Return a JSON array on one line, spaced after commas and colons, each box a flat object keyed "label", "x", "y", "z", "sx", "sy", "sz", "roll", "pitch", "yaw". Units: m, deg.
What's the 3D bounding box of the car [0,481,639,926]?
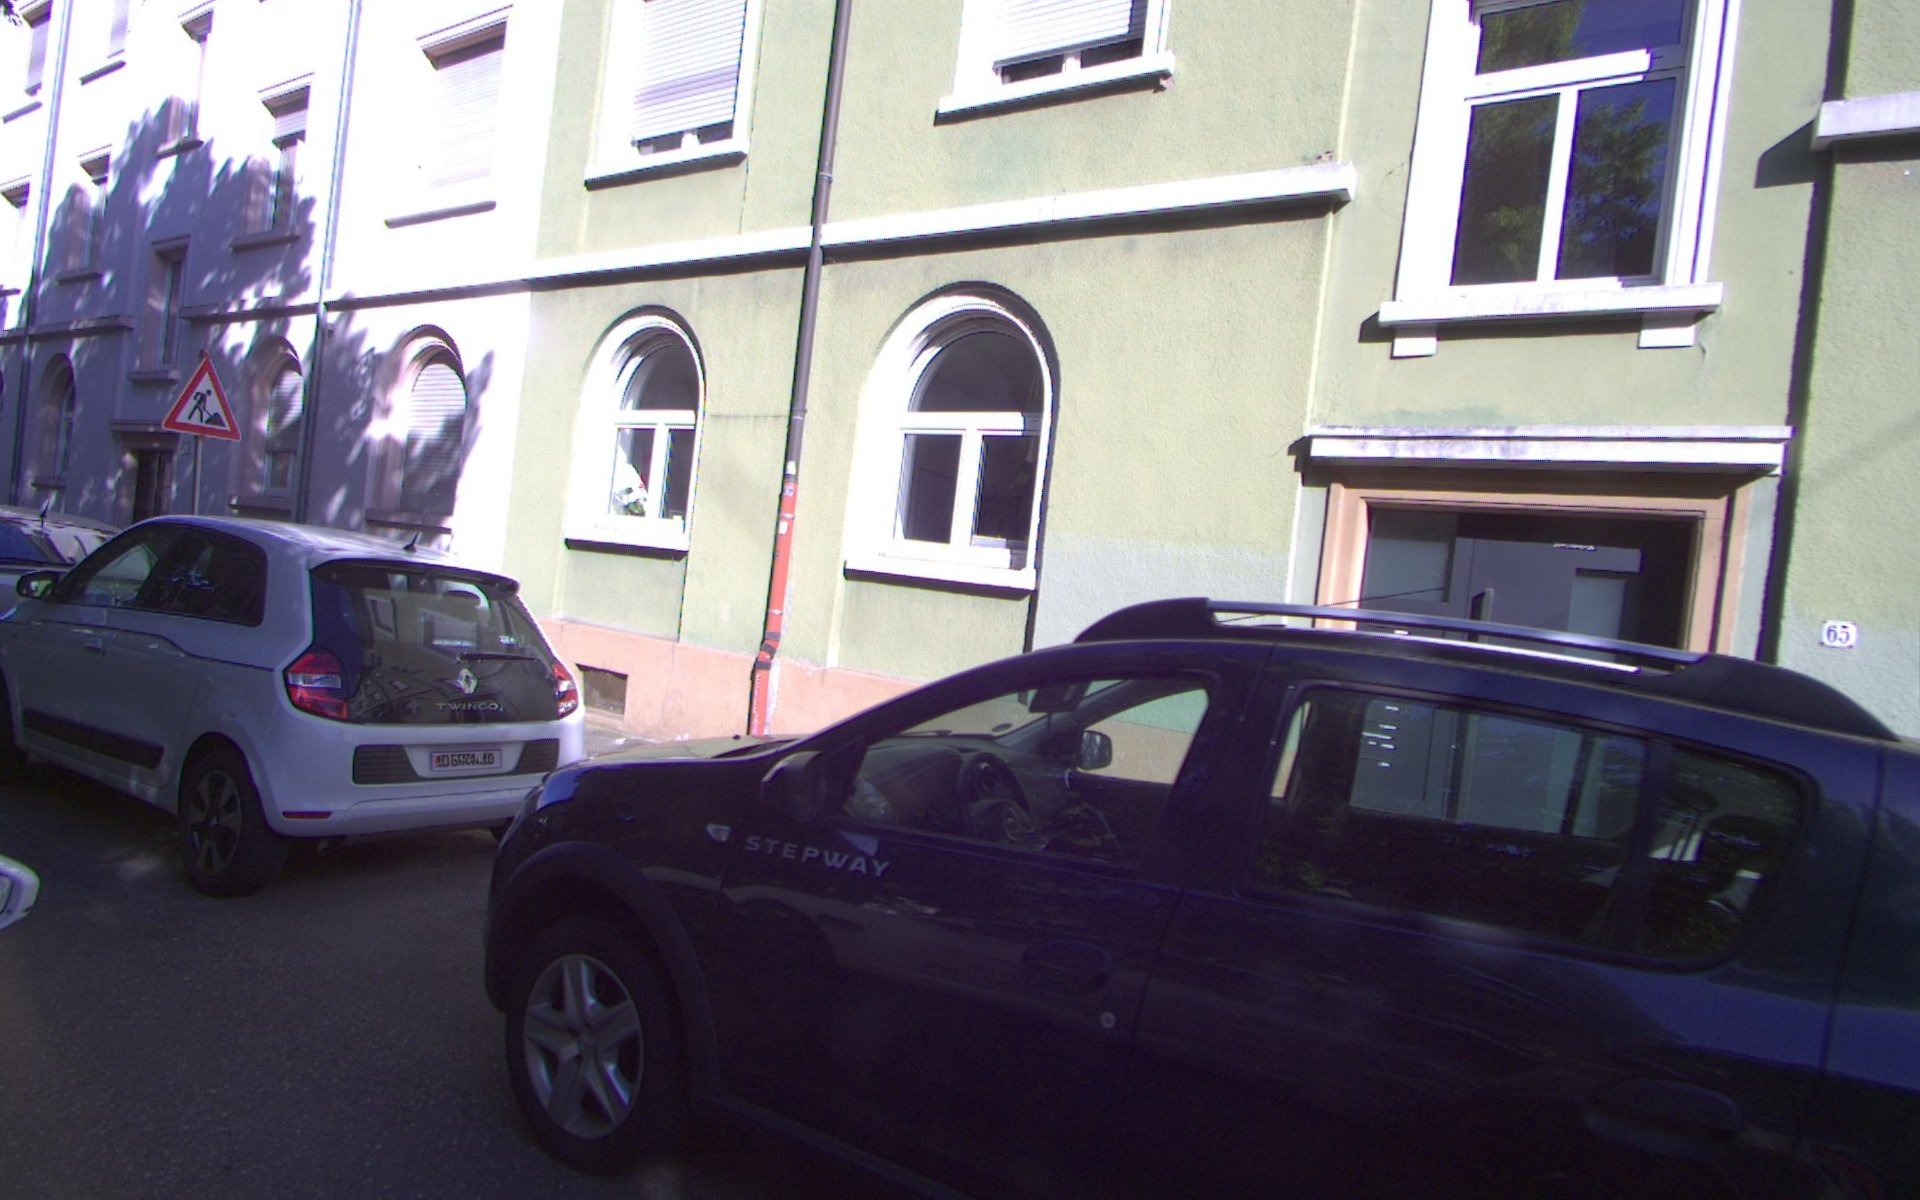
[{"label": "car", "x": -3.656, "y": 0.334, "z": 5.369, "sx": 3.532, "sy": 1.553, "sz": 1.633, "roll": 7, "pitch": 0, "yaw": 30}]

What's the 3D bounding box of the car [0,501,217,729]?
[{"label": "car", "x": -7.684, "y": -0.062, "z": 7.727, "sx": 4.019, "sy": 1.430, "sz": 1.633, "roll": 7, "pitch": 0, "yaw": 30}]

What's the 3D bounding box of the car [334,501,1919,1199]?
[{"label": "car", "x": 0.486, "y": 0.795, "z": 2.650, "sx": 4.086, "sy": 1.616, "sz": 1.726, "roll": 7, "pitch": 0, "yaw": 28}]
